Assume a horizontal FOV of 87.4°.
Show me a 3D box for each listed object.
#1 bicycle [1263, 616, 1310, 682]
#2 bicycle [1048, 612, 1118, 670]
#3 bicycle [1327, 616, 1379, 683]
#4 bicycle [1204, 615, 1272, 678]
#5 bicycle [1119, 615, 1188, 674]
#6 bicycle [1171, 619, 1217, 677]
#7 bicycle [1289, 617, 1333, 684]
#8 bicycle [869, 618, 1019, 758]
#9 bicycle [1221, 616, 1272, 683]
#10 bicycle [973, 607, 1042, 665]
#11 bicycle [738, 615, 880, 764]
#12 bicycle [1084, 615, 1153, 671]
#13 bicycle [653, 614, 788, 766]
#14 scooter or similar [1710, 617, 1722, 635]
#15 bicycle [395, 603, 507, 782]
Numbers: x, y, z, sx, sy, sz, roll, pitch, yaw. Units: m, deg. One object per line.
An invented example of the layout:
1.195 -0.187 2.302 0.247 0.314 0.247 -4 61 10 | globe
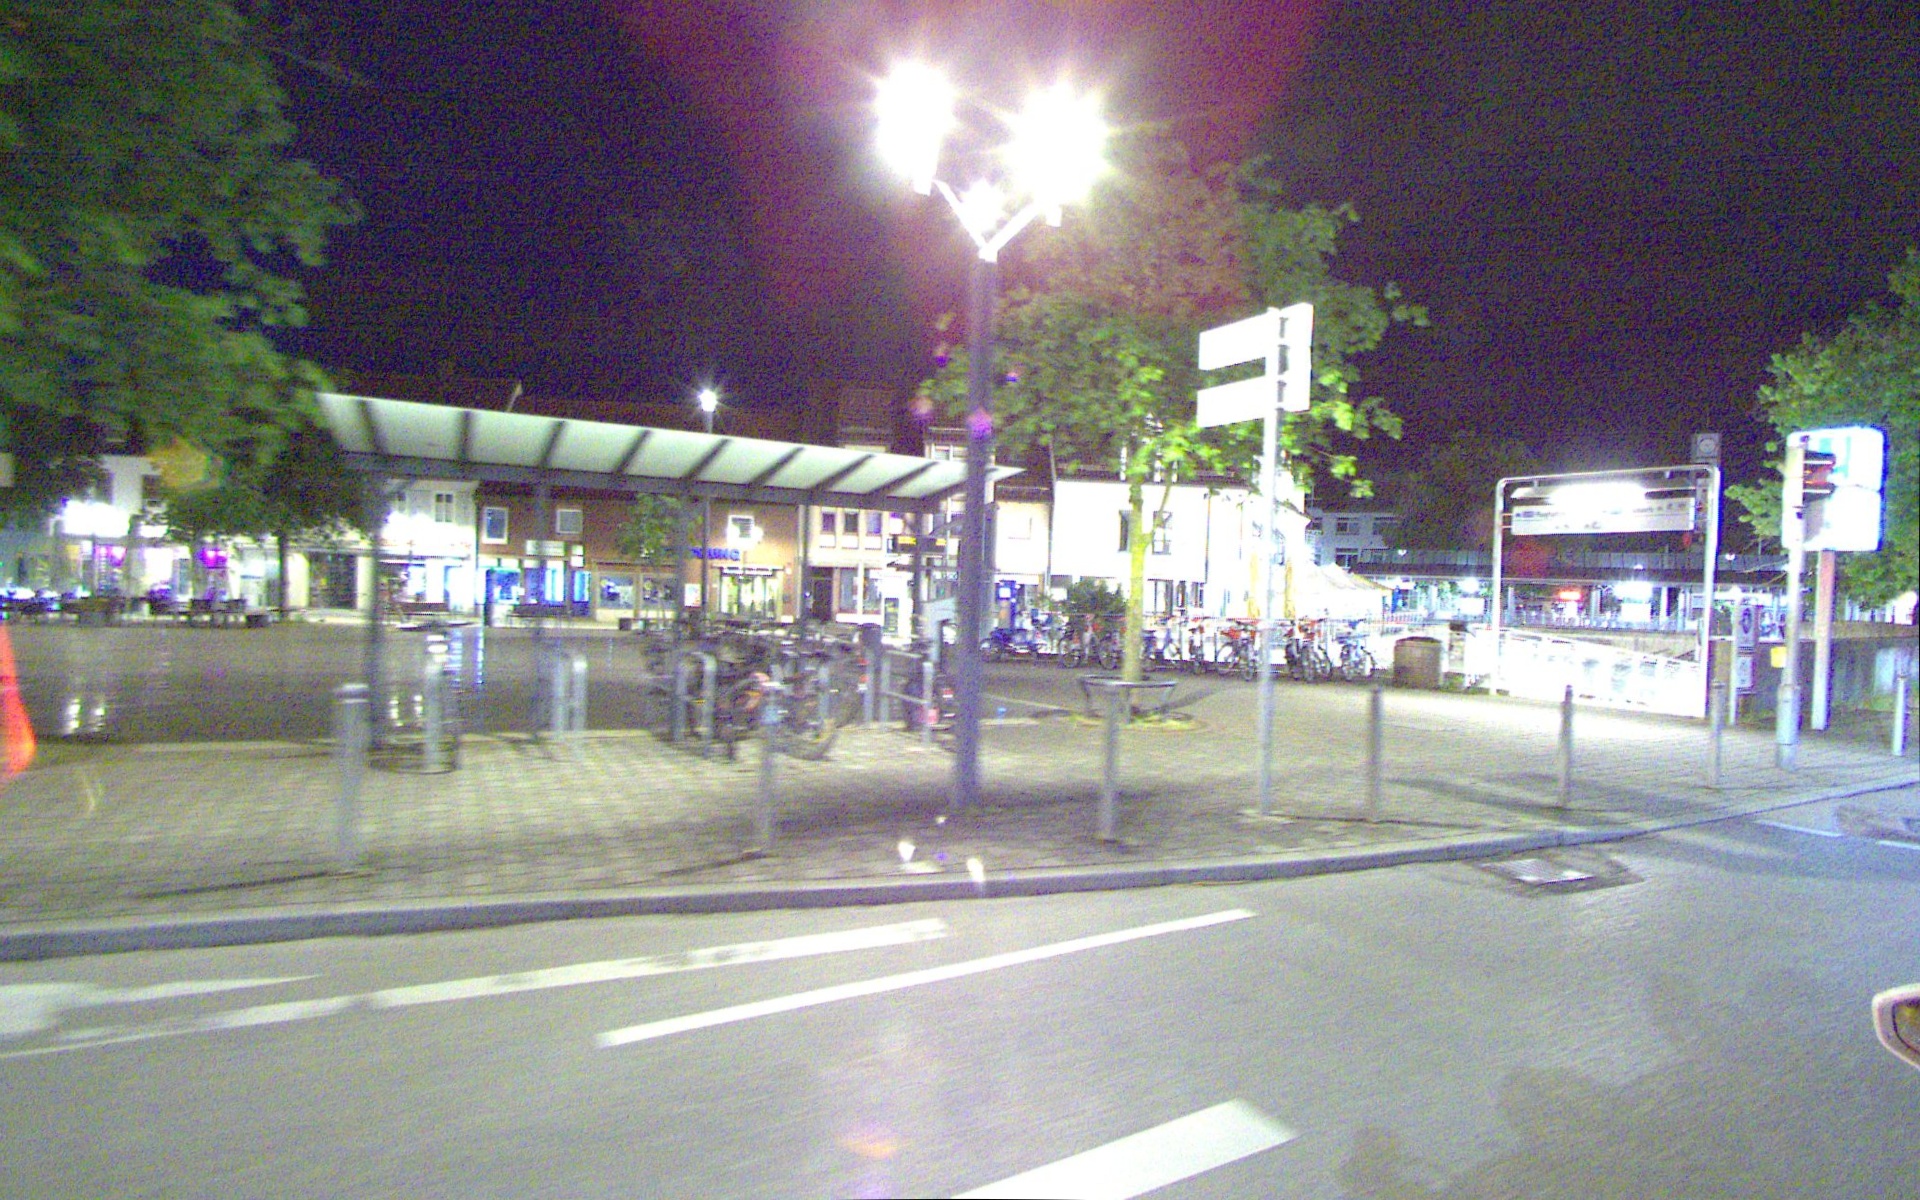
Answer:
6.314 0.911 19.371 0.598 1.181 1.745 0 0 27 | bicycle
2.641 0.851 21.456 0.600 1.181 1.738 0 1 42 | bicycle
7.481 0.914 19.077 0.747 1.177 1.745 0 0 27 | bicycle
5.588 0.905 20.125 0.600 1.181 1.737 0 1 42 | bicycle
4.009 0.892 20.703 0.600 1.140 1.738 0 1 42 | bicycle
4.732 0.936 20.264 0.597 1.084 1.746 0 0 24 | bicycle
6.630 0.918 18.936 0.535 1.170 1.745 0 0 27 | bicycle
-0.189 0.764 9.320 0.662 1.120 1.608 2 0 -30 | bicycle
5.415 0.900 18.940 0.598 1.181 1.745 0 0 27 | bicycle
1.089 0.795 22.549 0.600 1.235 1.738 0 1 42 | bicycle
-1.357 0.725 8.799 0.662 1.120 1.608 2 1 -30 | bicycle
3.380 0.893 21.320 0.600 1.115 1.738 0 1 42 | bicycle
-2.079 0.712 8.564 0.662 1.120 1.608 2 0 -30 | bicycle
55.164 1.902 73.285 0.423 1.302 1.146 0 0 25 | scooter or similar
-3.932 0.632 7.693 0.662 1.179 1.760 1 0 -30 | bicycle
